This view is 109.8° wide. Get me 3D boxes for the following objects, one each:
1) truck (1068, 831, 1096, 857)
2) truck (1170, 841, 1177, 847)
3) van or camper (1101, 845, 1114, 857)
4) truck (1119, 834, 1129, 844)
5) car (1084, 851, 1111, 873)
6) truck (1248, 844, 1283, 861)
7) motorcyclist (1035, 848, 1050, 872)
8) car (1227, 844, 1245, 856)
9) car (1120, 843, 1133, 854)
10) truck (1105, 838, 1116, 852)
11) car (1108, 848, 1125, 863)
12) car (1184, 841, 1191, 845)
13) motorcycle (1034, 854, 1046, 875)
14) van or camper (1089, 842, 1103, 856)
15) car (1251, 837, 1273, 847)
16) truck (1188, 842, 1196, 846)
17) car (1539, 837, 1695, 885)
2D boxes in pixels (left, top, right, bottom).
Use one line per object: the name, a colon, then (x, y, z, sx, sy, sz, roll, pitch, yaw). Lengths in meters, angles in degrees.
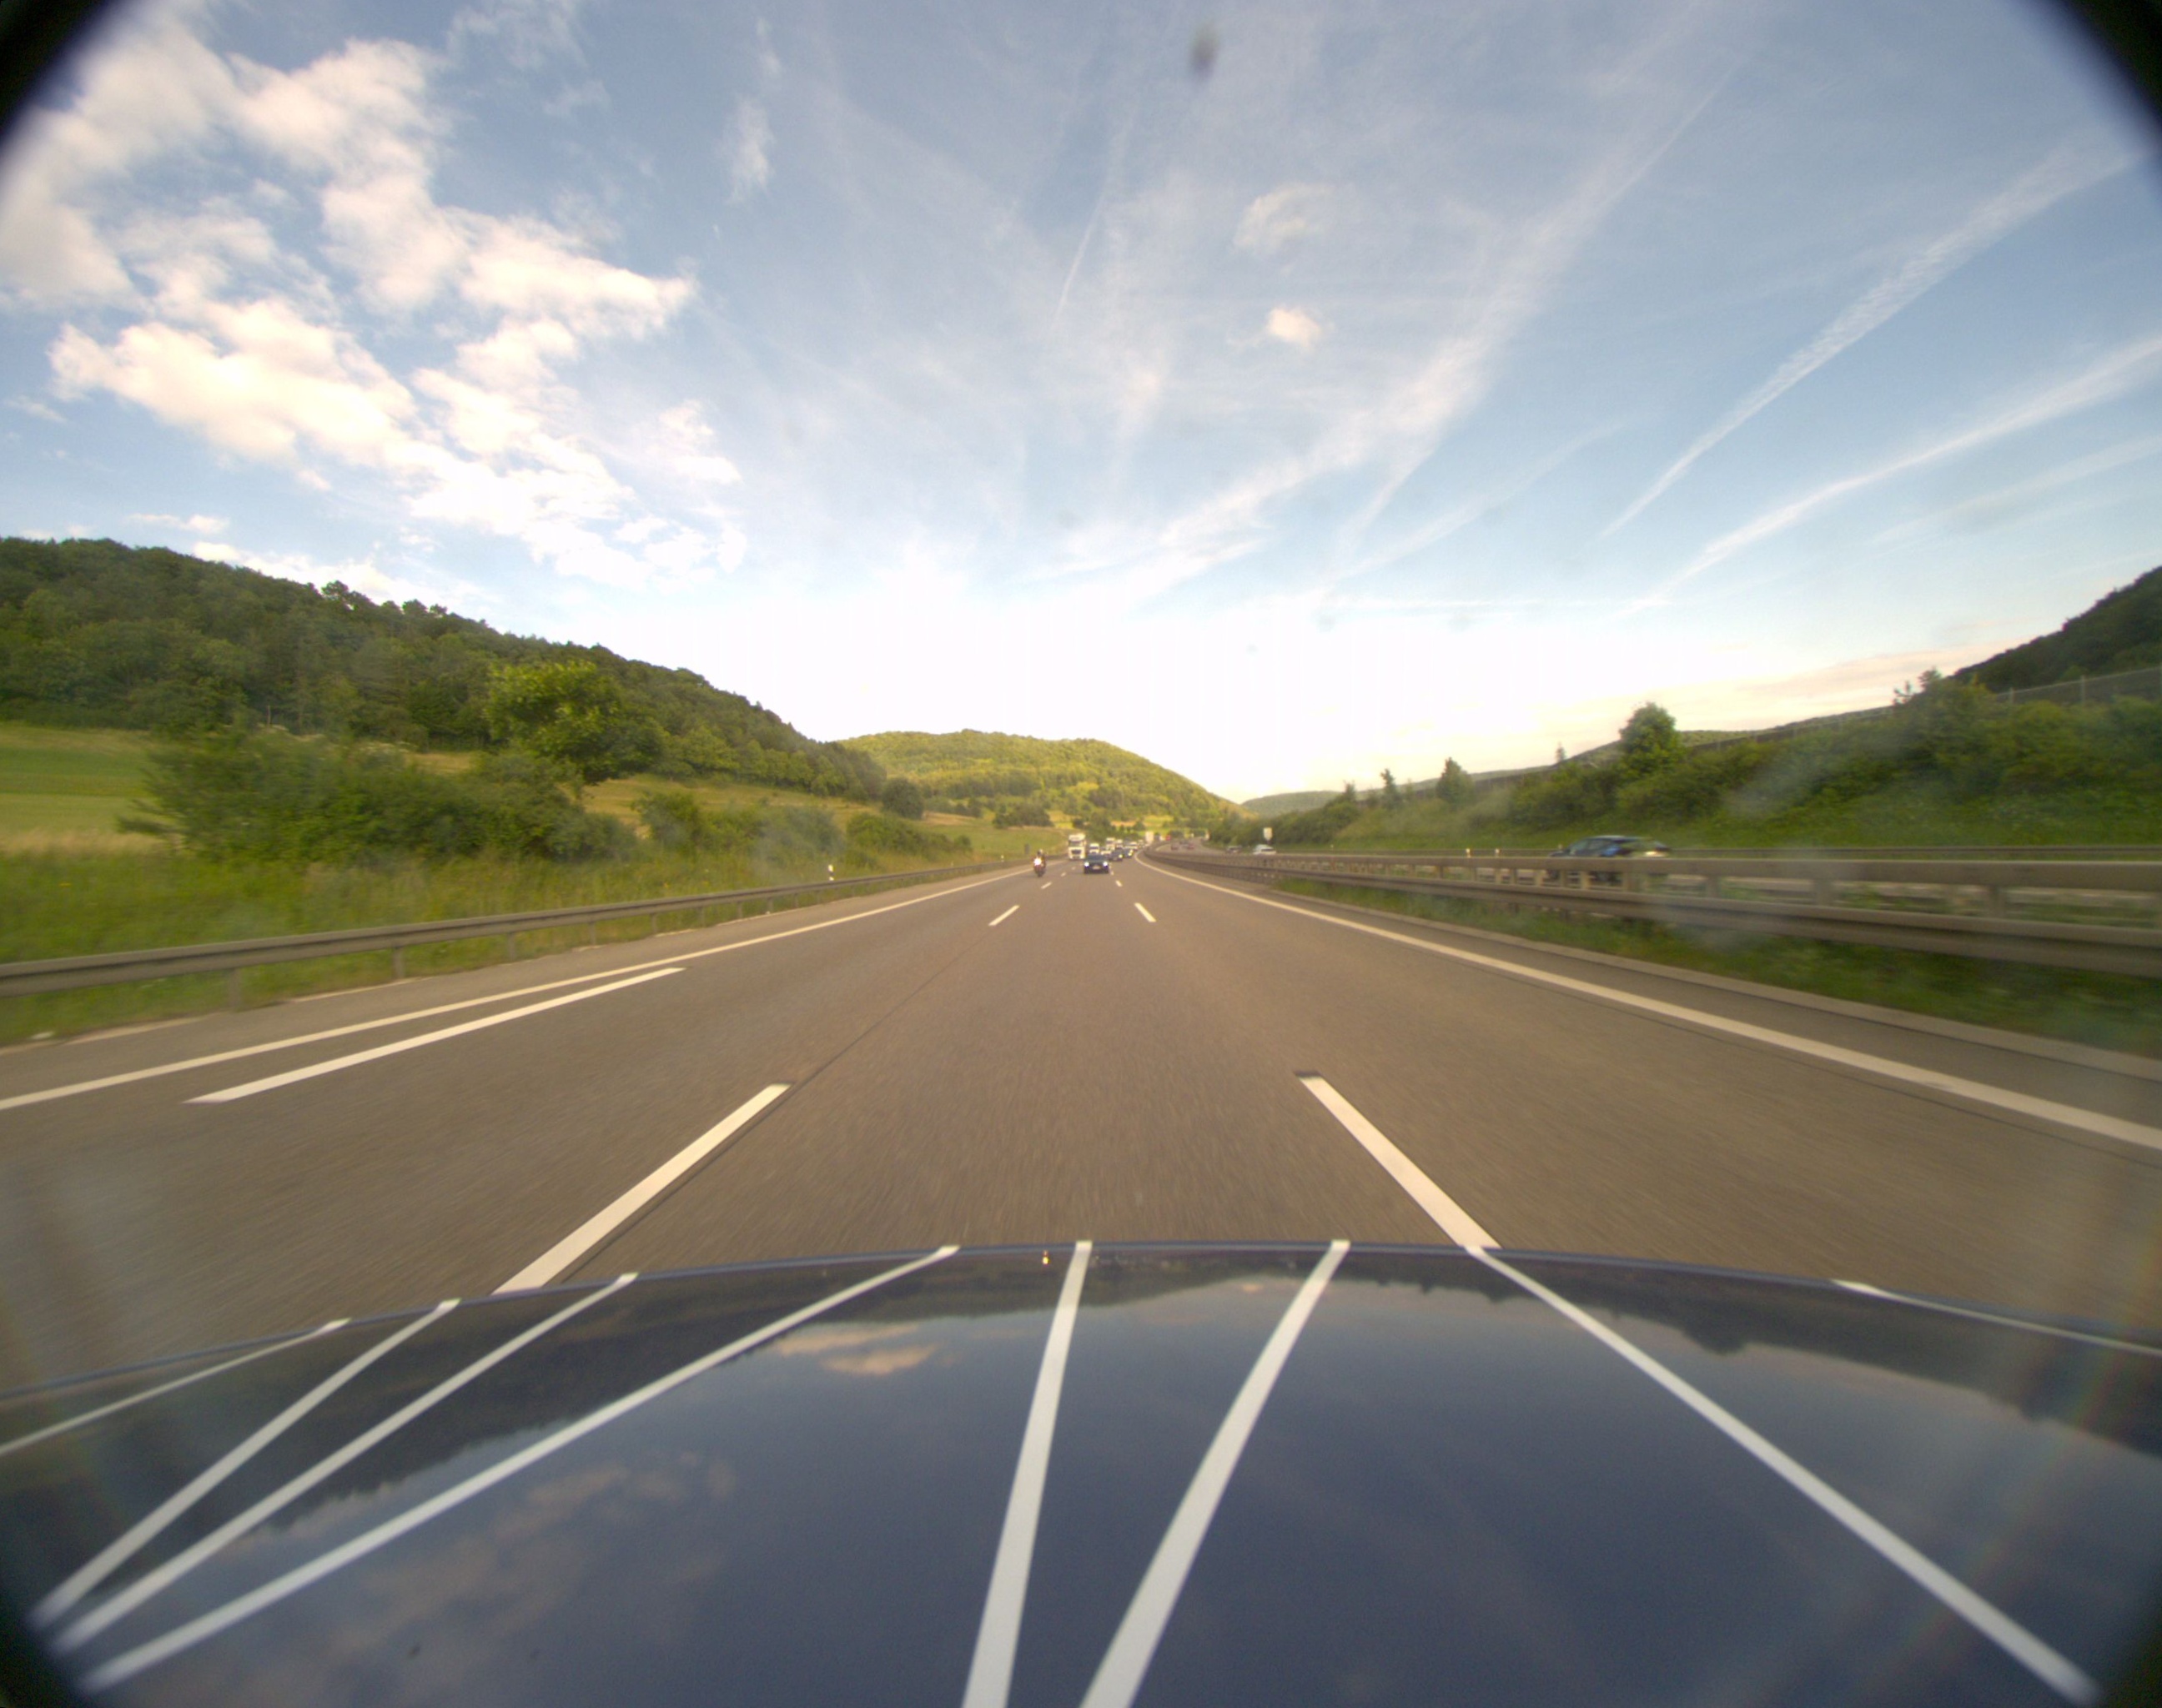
truck: (0.328, -1.775, 125.598, 2.971, 3.970, 17.734, -1, 1, 5)
truck: (26.725, -2.952, 218.950, 1.997, 1.585, 4.849, 0, 1, 8)
van or camper: (4.499, -0.579, 128.256, 1.998, 1.881, 4.488, -1, 1, 6)
truck: (14.804, -5.251, 263.531, 2.707, 3.628, 9.036, -1, 2, 8)
car: (1.171, 0.537, 51.857, 1.580, 1.311, 4.000, -2, 1, 4)
truck: (16.636, -0.153, 68.841, 1.999, 1.357, 4.645, -2, 1, -1)
motorcyclist: (-2.539, 0.401, 50.241, 0.878, 1.506, 0.797, -2, 2, 5)
car: (21.914, -0.511, 107.578, 1.998, 1.477, 4.003, -3, -2, 5)
car: (7.538, -0.912, 126.323, 1.998, 1.871, 4.001, 0, 1, 5)
truck: (9.066, -2.856, 231.095, 2.925, 3.876, 13.009, -2, 1, 3)
car: (4.702, 0.142, 100.678, 1.998, 1.871, 4.001, 0, 1, 5)
car: (36.004, -3.670, 256.555, 1.998, 1.345, 4.356, 0, 0, 4)
motorcycle: (-2.702, 0.688, 50.371, 0.628, 1.331, 1.739, -1, 2, 2)
van or camper: (3.109, -1.092, 156.824, 1.997, 2.702, 7.525, -1, 1, 8)
car: (26.850, -1.728, 112.860, 1.764, 1.350, 4.380, -2, 1, -5)
truck: (32.489, -2.927, 222.743, 1.998, 1.346, 3.947, 0, 1, 3)
car: (18.067, 0.173, 25.943, 1.999, 1.488, 4.691, 0, 1, 0)
